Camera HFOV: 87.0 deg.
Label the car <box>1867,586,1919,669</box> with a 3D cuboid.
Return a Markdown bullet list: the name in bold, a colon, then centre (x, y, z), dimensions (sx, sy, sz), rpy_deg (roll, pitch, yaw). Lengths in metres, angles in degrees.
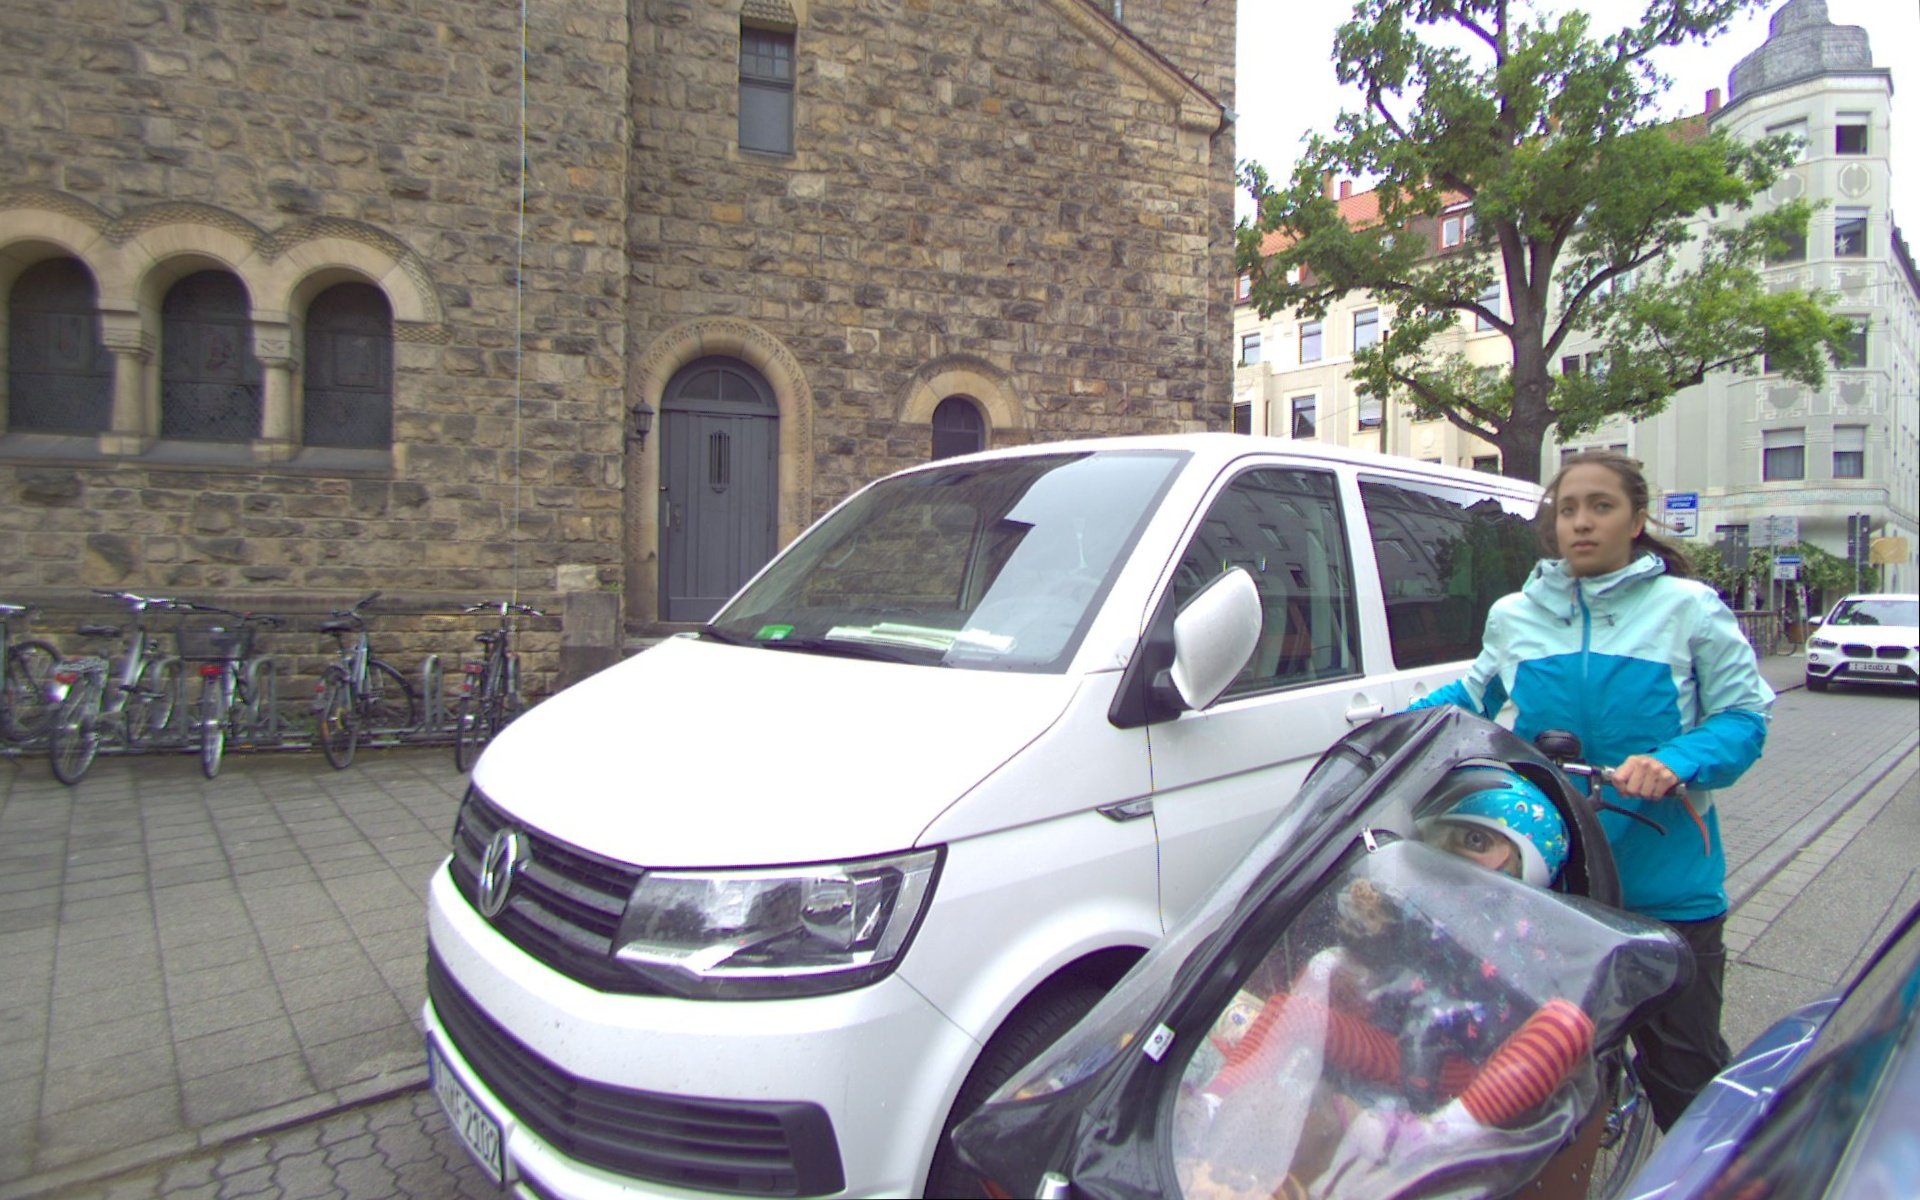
- **car**: centre (19.848, 0.529, 20.429), dimensions (3.930, 1.585, 1.818), rpy_deg (0, 0, -41)

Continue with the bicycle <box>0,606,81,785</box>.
- **bicycle**: centre (-6.084, 0.591, 6.377), dimensions (0.304, 1.073, 1.386), rpy_deg (1, 0, -18)

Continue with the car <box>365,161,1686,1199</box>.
- **car**: centre (0.915, 0.392, 3.700), dimensions (5.075, 1.944, 1.807), rpy_deg (0, 0, -42)

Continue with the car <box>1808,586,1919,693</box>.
- **car**: centre (15.454, 0.585, 16.552), dimensions (3.930, 1.585, 1.818), rpy_deg (0, 0, -41)

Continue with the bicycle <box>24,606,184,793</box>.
- **bicycle**: centre (-5.599, 0.593, 6.686), dimensions (0.304, 1.073, 1.386), rpy_deg (1, 0, -18)

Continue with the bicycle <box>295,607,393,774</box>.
- **bicycle**: centre (-4.455, 0.605, 7.371), dimensions (0.304, 1.073, 1.346), rpy_deg (1, 0, -18)

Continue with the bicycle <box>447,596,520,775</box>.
- **bicycle**: centre (-3.419, 0.557, 7.312), dimensions (0.304, 1.161, 1.346), rpy_deg (1, 0, -18)

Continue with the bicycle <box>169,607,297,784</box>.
- **bicycle**: centre (-4.977, 0.598, 6.989), dimensions (0.304, 1.073, 1.386), rpy_deg (1, 0, -18)

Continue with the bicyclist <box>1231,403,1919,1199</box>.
- **bicyclist**: centre (1.133, 0.513, 1.858), dimensions (1.037, 1.537, 0.689), rpy_deg (1, 0, -30)

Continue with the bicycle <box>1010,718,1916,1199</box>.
- **bicycle**: centre (1.110, 0.869, 1.955), dimensions (2.096, 1.112, 0.496), rpy_deg (0, 0, -30)
